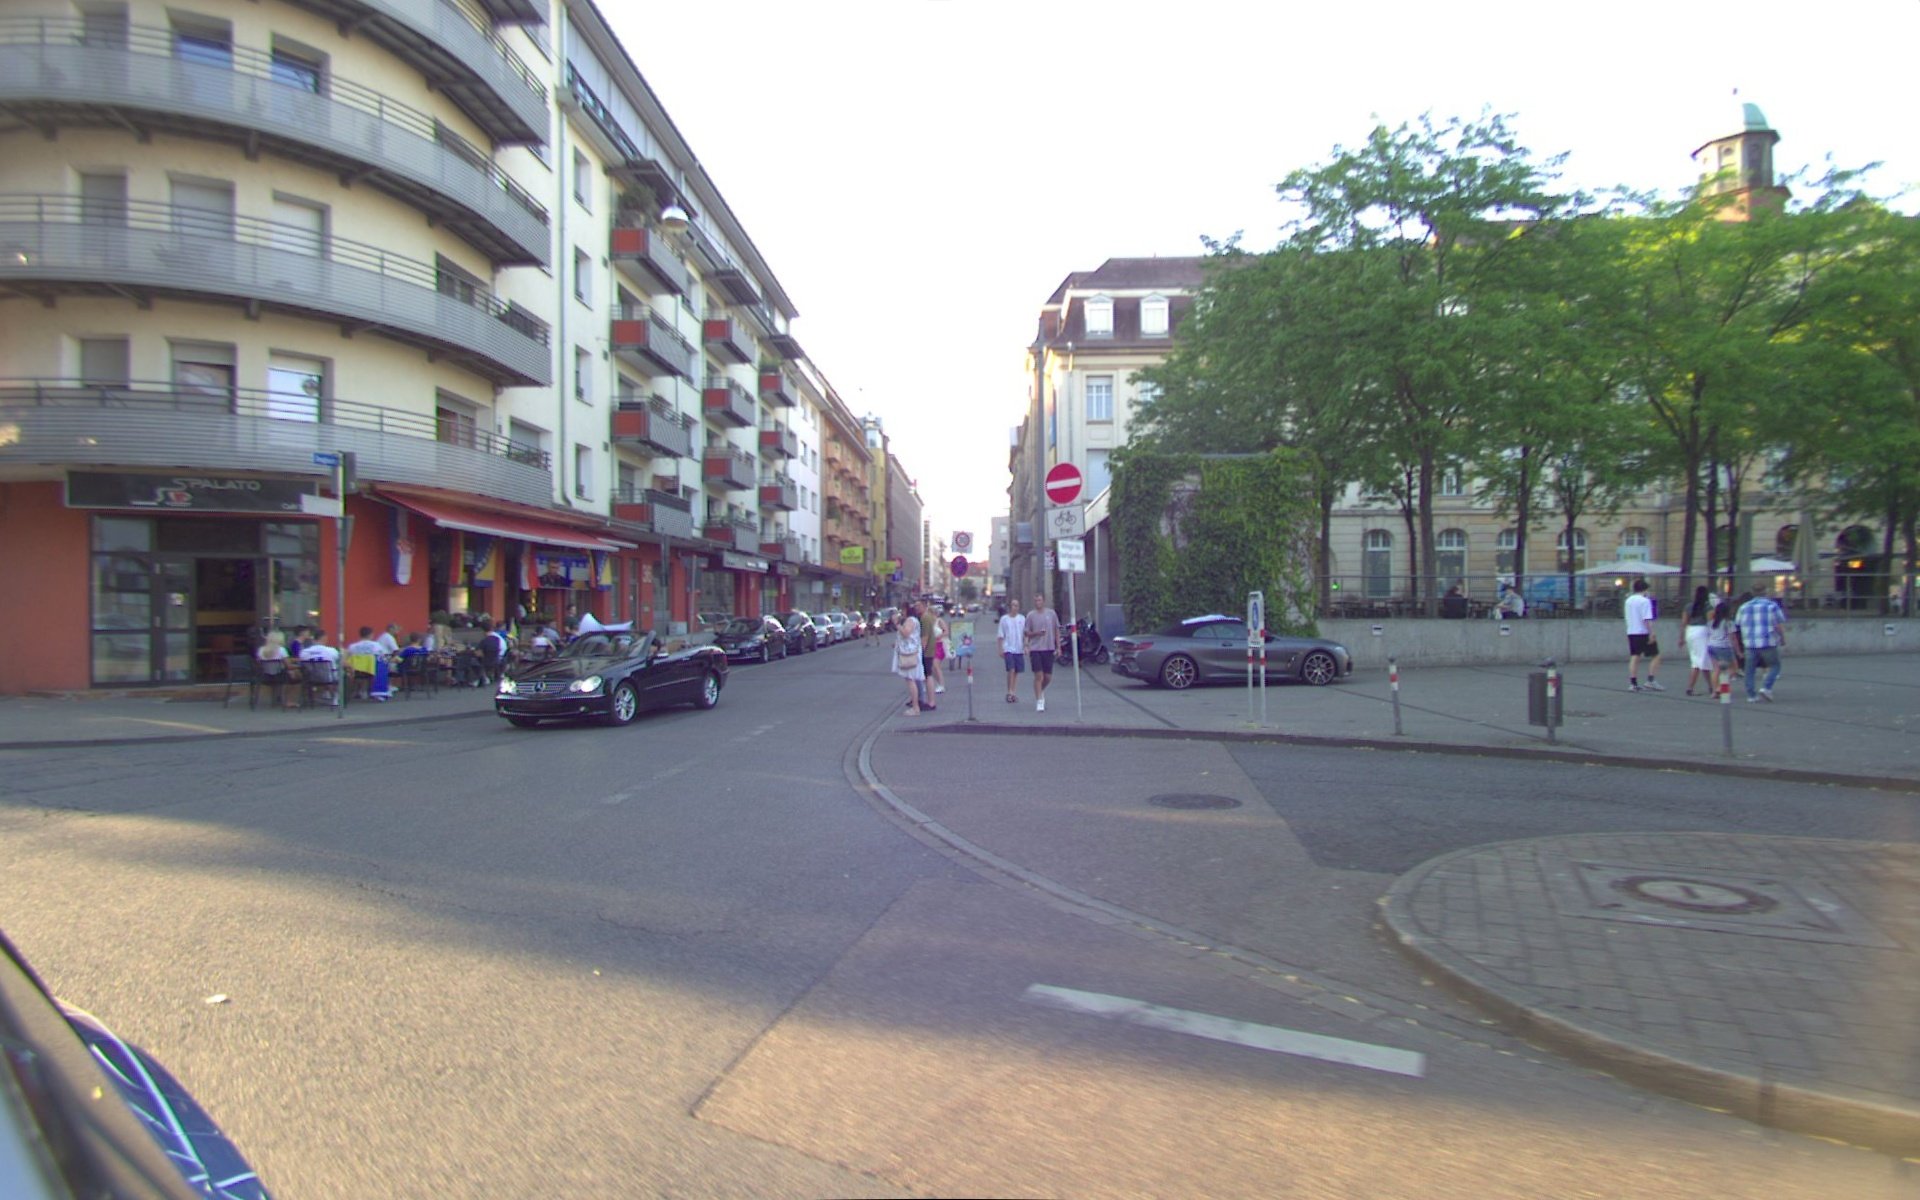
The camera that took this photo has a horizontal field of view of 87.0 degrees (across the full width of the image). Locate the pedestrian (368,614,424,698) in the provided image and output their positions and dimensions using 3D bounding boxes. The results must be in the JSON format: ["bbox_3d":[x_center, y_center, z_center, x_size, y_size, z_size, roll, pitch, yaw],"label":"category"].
[{"bbox_3d":[-10.650,1.048,19.123,0.751,1.547,0.641,-2,-1,35],"label":"pedestrian"}]

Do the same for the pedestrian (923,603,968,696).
[{"bbox_3d":[-0.277,0.988,20.301,0.802,1.807,0.736,-2,-1,4],"label":"pedestrian"}]

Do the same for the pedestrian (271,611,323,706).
[{"bbox_3d":[-11.243,0.975,17.185,0.702,1.547,0.855,-1,-1,-33],"label":"pedestrian"}]

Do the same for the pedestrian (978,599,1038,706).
[{"bbox_3d":[0.844,0.908,17.795,0.972,1.807,0.889,-2,-1,4],"label":"pedestrian"}]

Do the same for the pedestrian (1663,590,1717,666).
[{"bbox_3d":[16.943,0.642,23.497,0.614,1.740,0.803,-1,-1,1],"label":"pedestrian"}]

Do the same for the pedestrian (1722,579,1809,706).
[{"bbox_3d":[11.620,0.602,14.608,0.676,1.759,0.718,-1,-1,-27],"label":"pedestrian"}]

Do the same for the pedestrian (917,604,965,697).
[{"bbox_3d":[-0.375,0.991,20.332,0.841,1.807,0.868,-2,-1,4],"label":"pedestrian"}]

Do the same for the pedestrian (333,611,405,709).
[{"bbox_3d":[-9.862,0.980,16.911,0.709,1.547,0.685,0,3,19],"label":"pedestrian"}]

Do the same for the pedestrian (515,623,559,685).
[{"bbox_3d":[-9.507,1.204,22.778,0.646,1.355,0.749,2,-1,-1],"label":"pedestrian"}]

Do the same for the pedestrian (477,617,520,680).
[{"bbox_3d":[-10.733,1.113,23.563,0.705,1.432,0.602,-2,-1,1],"label":"pedestrian"}]

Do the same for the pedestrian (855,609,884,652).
[{"bbox_3d":[-3.997,1.328,44.652,0.990,1.841,0.949,-1,-1,-25],"label":"pedestrian"}]

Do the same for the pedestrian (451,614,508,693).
[{"bbox_3d":[-9.712,1.068,20.479,0.704,1.547,0.760,3,-1,-2],"label":"pedestrian"}]

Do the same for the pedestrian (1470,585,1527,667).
[{"bbox_3d":[12.490,0.599,23.504,0.693,1.833,1.122,-1,-1,0],"label":"pedestrian"}]

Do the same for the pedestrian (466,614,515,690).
[{"bbox_3d":[-9.852,1.071,21.255,0.641,1.539,0.700,3,-1,-2],"label":"pedestrian"}]

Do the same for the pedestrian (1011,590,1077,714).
[{"bbox_3d":[1.327,0.813,16.141,0.972,1.898,0.889,-2,-1,4],"label":"pedestrian"}]

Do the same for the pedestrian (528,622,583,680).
[{"bbox_3d":[-9.539,1.188,23.894,0.872,1.315,0.847,1,0,22],"label":"pedestrian"}]

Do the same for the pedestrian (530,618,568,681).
[{"bbox_3d":[-10.444,1.245,25.729,0.838,1.547,0.717,-1,-1,-20],"label":"pedestrian"}]

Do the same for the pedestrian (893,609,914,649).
[{"bbox_3d":[-2.511,1.290,44.891,0.907,1.740,0.703,-1,-1,-3],"label":"pedestrian"}]

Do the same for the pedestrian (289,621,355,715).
[{"bbox_3d":[-9.914,1.033,15.755,0.757,1.392,0.842,0,0,-24],"label":"pedestrian"}]

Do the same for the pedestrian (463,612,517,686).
[{"bbox_3d":[-10.231,1.058,22.067,0.841,1.547,0.680,-2,-1,-1],"label":"pedestrian"}]

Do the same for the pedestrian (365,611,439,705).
[{"bbox_3d":[-9.694,0.996,17.601,0.705,1.547,0.852,4,-1,3],"label":"pedestrian"}]

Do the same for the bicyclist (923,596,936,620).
[{"bbox_3d":[-2.583,0.654,85.491,1.033,2.029,1.181,-1,0,4],"label":"bicyclist"}]

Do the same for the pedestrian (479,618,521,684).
[{"bbox_3d":[-10.331,1.142,22.724,0.658,1.445,0.561,1,-1,-1],"label":"pedestrian"}]

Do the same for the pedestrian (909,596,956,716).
[{"bbox_3d":[-0.459,0.901,16.612,0.704,1.891,0.852,-2,-1,-2],"label":"pedestrian"}]

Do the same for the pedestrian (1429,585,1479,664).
[{"bbox_3d":[11.496,0.561,23.573,0.752,1.795,0.797,-1,0,4],"label":"pedestrian"}]

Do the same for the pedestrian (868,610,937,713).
[{"bbox_3d":[-0.987,1.029,17.319,0.881,1.681,0.705,-1,1,38],"label":"pedestrian"}]

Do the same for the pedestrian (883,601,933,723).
[{"bbox_3d":[-0.798,0.946,15.776,0.704,1.816,0.883,-2,-1,0],"label":"pedestrian"}]

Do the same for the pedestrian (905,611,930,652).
[{"bbox_3d":[-1.847,1.358,44.142,0.826,1.740,0.916,-1,-1,15],"label":"pedestrian"}]

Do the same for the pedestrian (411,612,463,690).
[{"bbox_3d":[-10.642,1.033,20.616,0.666,1.547,0.655,2,-1,0],"label":"pedestrian"}]

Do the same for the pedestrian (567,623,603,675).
[{"bbox_3d":[-9.640,1.254,26.023,0.838,1.287,0.717,0,2,-20],"label":"pedestrian"}]
